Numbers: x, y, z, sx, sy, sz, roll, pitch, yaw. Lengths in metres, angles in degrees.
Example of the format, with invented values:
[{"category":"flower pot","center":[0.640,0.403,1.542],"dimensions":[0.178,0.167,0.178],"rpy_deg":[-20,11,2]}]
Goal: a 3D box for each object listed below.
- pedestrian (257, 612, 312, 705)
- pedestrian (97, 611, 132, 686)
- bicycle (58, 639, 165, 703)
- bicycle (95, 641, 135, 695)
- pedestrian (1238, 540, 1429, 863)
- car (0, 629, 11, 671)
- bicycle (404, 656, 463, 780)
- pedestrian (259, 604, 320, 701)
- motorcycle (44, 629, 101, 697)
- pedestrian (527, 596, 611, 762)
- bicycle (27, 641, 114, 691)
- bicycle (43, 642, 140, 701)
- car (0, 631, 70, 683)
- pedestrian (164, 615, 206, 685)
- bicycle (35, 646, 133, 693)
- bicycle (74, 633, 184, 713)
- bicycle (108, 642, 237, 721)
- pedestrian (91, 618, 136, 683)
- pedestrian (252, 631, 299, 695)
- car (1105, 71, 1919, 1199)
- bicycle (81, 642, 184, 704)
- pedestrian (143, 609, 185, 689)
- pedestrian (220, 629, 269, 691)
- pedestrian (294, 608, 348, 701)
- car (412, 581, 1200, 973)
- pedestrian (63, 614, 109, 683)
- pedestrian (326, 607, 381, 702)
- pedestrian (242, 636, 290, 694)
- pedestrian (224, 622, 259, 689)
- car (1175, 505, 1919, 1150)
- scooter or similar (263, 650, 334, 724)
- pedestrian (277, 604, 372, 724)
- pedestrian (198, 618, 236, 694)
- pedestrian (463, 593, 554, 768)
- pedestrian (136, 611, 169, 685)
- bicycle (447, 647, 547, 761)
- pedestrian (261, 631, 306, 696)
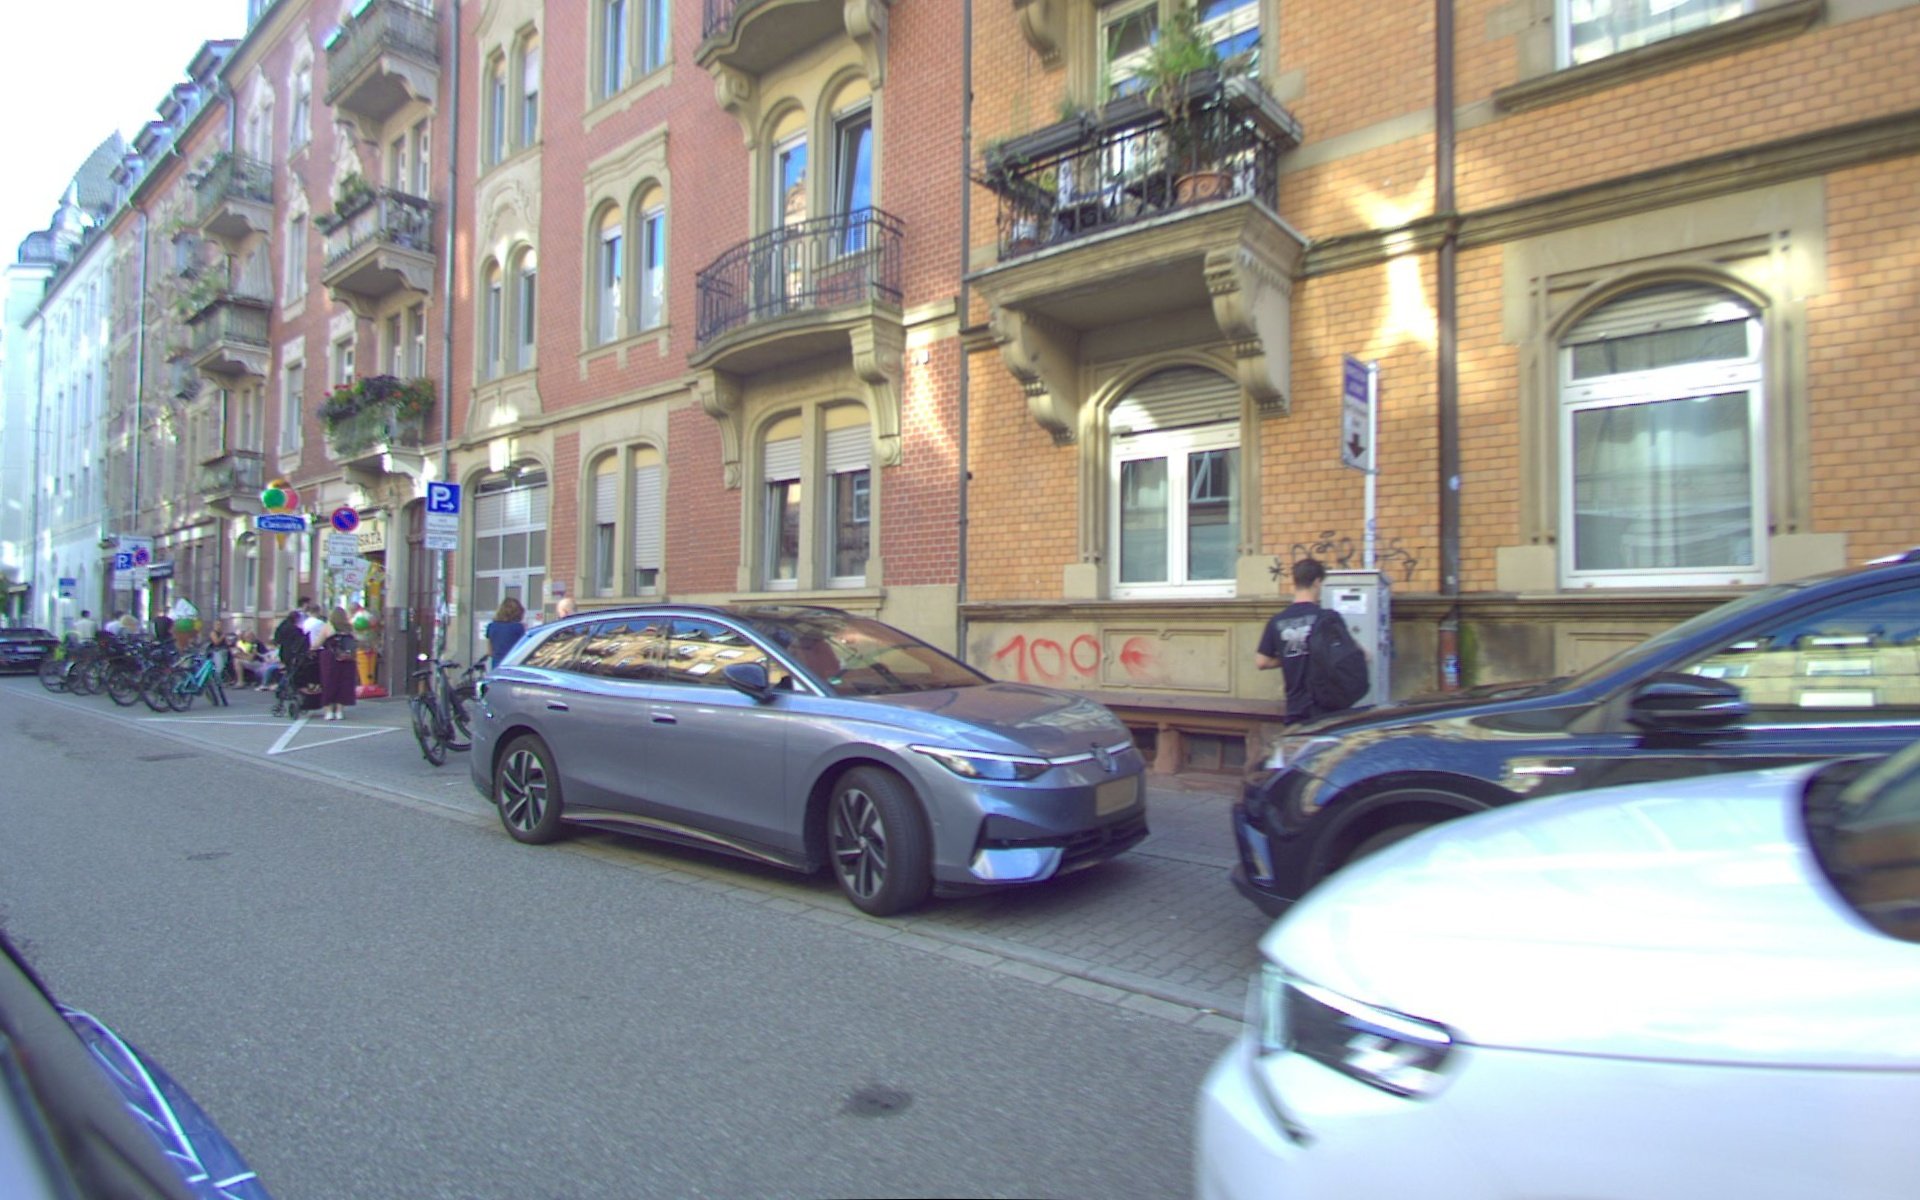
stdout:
[{"category":"pedestrian","center":[-12.578,1.074,18.859],"dimensions":[0.640,1.709,0.563],"rpy_deg":[-1,-1,9]},{"category":"pedestrian","center":[-20.329,1.158,24.340],"dimensions":[0.596,1.765,0.947],"rpy_deg":[1,-2,-38]},{"category":"bicycle","center":[-17.065,1.402,20.402],"dimensions":[0.583,1.209,1.788],"rpy_deg":[-1,-1,4]},{"category":"bicycle","center":[-18.533,1.469,22.225],"dimensions":[0.570,1.098,1.742],"rpy_deg":[0,-1,-37]},{"category":"pedestrian","center":[2.317,0.583,6.292],"dimensions":[0.863,1.822,0.748],"rpy_deg":[-2,-2,44]},{"category":"car","center":[-34.751,1.749,35.356],"dimensions":[4.005,1.426,1.654],"rpy_deg":[-1,-2,37]},{"category":"bicycle","center":[-5.400,1.156,10.435],"dimensions":[0.475,1.067,1.910],"rpy_deg":[-1,0,-26]},{"category":"pedestrian","center":[-13.124,1.016,19.838],"dimensions":[0.658,1.868,0.761],"rpy_deg":[-1,-1,9]},{"category":"motorcycle","center":[-19.135,1.320,21.849],"dimensions":[0.698,1.395,2.028],"rpy_deg":[0,-1,-35]},{"category":"pedestrian","center":[-4.094,0.805,10.623],"dimensions":[0.545,1.674,0.679],"rpy_deg":[-1,-1,10]},{"category":"bicycle","center":[-20.918,1.541,23.814],"dimensions":[1.555,1.125,0.375],"rpy_deg":[0,-1,-11]},{"category":"bicycle","center":[-17.671,1.435,20.634],"dimensions":[0.583,1.129,1.569],"rpy_deg":[-1,-1,4]},{"category":"car","center":[-27.230,1.579,28.987],"dimensions":[5.110,1.361,1.794],"rpy_deg":[-1,-2,39]},{"category":"pedestrian","center":[-19.899,1.274,26.002],"dimensions":[0.678,1.773,0.668],"rpy_deg":[0,-1,-20]},{"category":"bicycle","center":[-20.212,1.591,23.384],"dimensions":[1.658,1.038,0.410],"rpy_deg":[0,-2,-30]},{"category":"bicycle","center":[-14.877,1.280,18.171],"dimensions":[0.521,1.332,1.675],"rpy_deg":[-1,-1,4]},{"category":"bicycle","center":[-13.035,1.304,16.848],"dimensions":[0.795,1.168,2.275],"rpy_deg":[0,-1,-13]},{"category":"pedestrian","center":[-23.368,1.378,27.951],"dimensions":[0.750,1.773,0.668],"rpy_deg":[0,-1,-20]},{"category":"pedestrian","center":[-14.501,1.330,21.448],"dimensions":[0.439,1.323,0.711],"rpy_deg":[-1,-2,36]},{"category":"car","center":[2.475,0.492,0.526],"dimensions":[4.435,1.842,1.898],"rpy_deg":[-1,-2,41]},{"category":"bicycle","center":[-16.470,1.433,20.197],"dimensions":[0.548,1.129,1.736],"rpy_deg":[-1,-1,4]},{"category":"pedestrian","center":[-19.270,1.177,24.508],"dimensions":[0.637,1.906,0.603],"rpy_deg":[0,-1,-20]},{"category":"pedestrian","center":[-15.569,1.297,22.036],"dimensions":[0.605,1.323,0.716],"rpy_deg":[-1,-2,36]},{"category":"pedestrian","center":[-11.972,1.017,18.974],"dimensions":[0.579,1.709,0.664],"rpy_deg":[-1,-1,9]},{"category":"car","center":[-1.314,0.778,6.439],"dimensions":[5.254,1.590,1.808],"rpy_deg":[-1,-2,37]},{"category":"pedestrian","center":[-23.468,1.289,27.183],"dimensions":[0.750,1.832,0.668],"rpy_deg":[0,-1,-20]},{"category":"pedestrian","center":[-11.255,0.998,18.781],"dimensions":[0.763,1.709,0.657],"rpy_deg":[-2,-2,40]},{"category":"pedestrian","center":[-14.918,1.375,21.759],"dimensions":[0.585,1.206,0.702],"rpy_deg":[-1,-2,36]},{"category":"pedestrian","center":[-16.287,1.233,22.938],"dimensions":[0.597,1.481,0.726],"rpy_deg":[1,-2,-39]},{"category":"car","center":[3.348,0.597,3.208],"dimensions":[4.885,1.694,1.856],"rpy_deg":[-2,-2,37]},{"category":"scooter or similar","center":[-9.980,1.293,15.272],"dimensions":[0.920,1.063,0.600],"rpy_deg":[-1,-1,35]},{"category":"pedestrian","center":[-9.258,0.908,14.749],"dimensions":[0.825,1.674,0.904],"rpy_deg":[-1,-1,32]},{"category":"pedestrian","center":[-16.278,1.211,22.171],"dimensions":[0.583,1.629,0.547],"rpy_deg":[-2,-2,40]},{"category":"pedestrian","center":[-4.568,0.797,10.258],"dimensions":[0.659,1.722,0.564],"rpy_deg":[-1,-1,5]},{"category":"pedestrian","center":[-19.648,1.150,24.614],"dimensions":[0.597,1.765,0.726],"rpy_deg":[1,-2,-39]},{"category":"bicycle","center":[-5.163,1.104,11.219],"dimensions":[0.487,1.103,1.907],"rpy_deg":[0,-1,-41]},{"category":"pedestrian","center":[-14.170,1.324,21.204],"dimensions":[0.372,1.323,0.694],"rpy_deg":[-1,-2,36]}]
